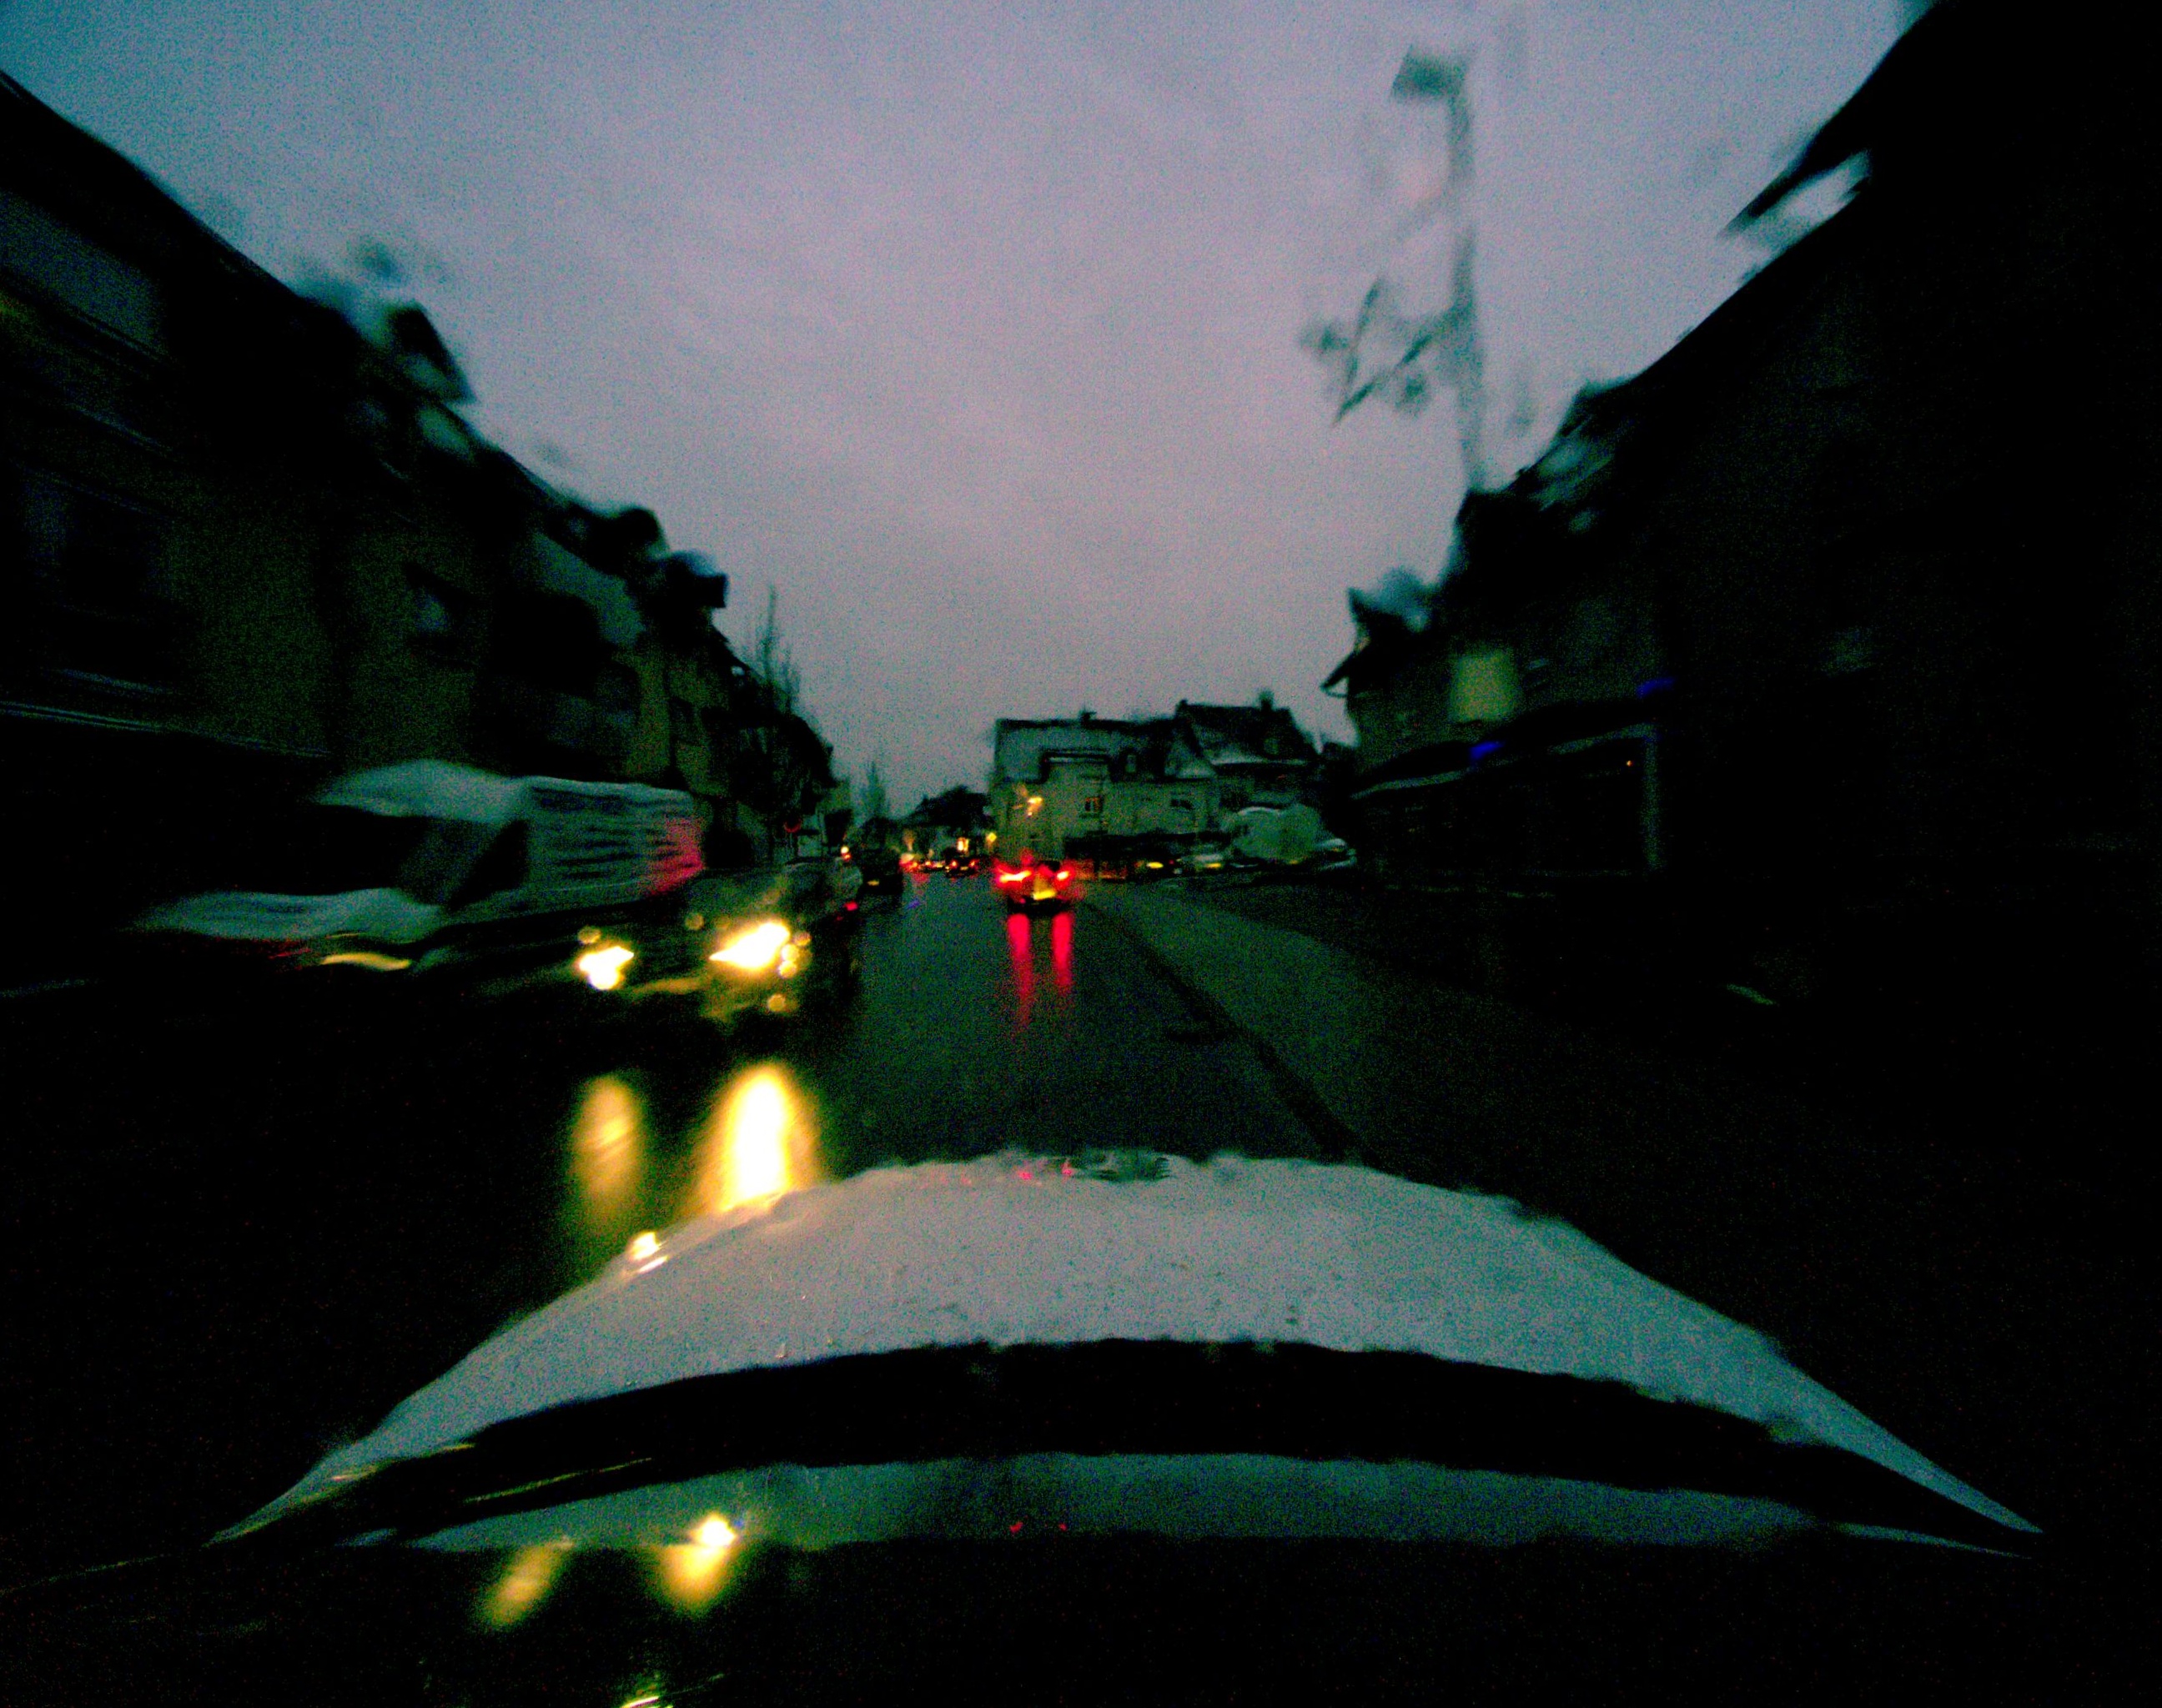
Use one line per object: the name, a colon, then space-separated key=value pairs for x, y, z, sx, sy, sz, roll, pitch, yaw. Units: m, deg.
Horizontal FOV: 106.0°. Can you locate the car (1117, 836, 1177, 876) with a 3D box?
car: x=3.201 y=0.099 z=40.610 sx=1.992 sy=1.765 sz=4.338 roll=-4 pitch=1 yaw=-8

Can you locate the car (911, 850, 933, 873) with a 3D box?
car: x=-16.004 y=0.713 z=81.849 sx=1.996 sy=2.202 sz=3.981 roll=-1 pitch=0 yaw=-14

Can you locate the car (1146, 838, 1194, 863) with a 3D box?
car: x=5.665 y=-0.236 z=52.553 sx=1.823 sy=1.462 sz=4.532 roll=-4 pitch=1 yaw=-10

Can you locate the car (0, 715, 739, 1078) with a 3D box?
car: x=-6.633 y=0.330 z=9.200 sx=2.476 sy=2.560 sz=6.764 roll=-1 pitch=-1 yaw=2

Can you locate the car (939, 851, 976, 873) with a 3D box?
car: x=-9.433 y=0.607 z=62.053 sx=2.001 sy=1.588 sz=3.972 roll=-1 pitch=0 yaw=-21

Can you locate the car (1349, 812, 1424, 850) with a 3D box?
car: x=15.190 y=-1.124 z=40.751 sx=1.989 sy=1.606 sz=3.996 roll=-6 pitch=1 yaw=-3

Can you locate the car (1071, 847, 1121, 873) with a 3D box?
car: x=0.867 y=0.330 z=49.842 sx=1.892 sy=1.462 sz=3.610 roll=-2 pitch=1 yaw=-19

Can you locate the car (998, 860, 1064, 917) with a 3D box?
car: x=-1.474 y=0.968 z=24.746 sx=1.810 sy=1.533 sz=3.996 roll=-1 pitch=0 yaw=-2

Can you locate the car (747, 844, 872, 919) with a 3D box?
car: x=-7.498 y=0.693 z=23.114 sx=1.989 sy=1.843 sz=5.297 roll=-1 pitch=0 yaw=-3

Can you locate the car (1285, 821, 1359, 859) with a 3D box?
car: x=11.845 y=-0.657 z=40.322 sx=1.788 sy=1.553 sz=3.987 roll=-8 pitch=1 yaw=-9

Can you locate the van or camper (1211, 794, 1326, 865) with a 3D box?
van or camper: x=9.210 y=-1.119 z=40.916 sx=2.655 sy=3.047 sz=6.702 roll=-5 pitch=1 yaw=-14

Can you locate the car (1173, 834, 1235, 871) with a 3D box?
car: x=6.069 y=-0.038 z=40.573 sx=1.991 sy=1.610 sz=4.166 roll=-4 pitch=-1 yaw=-6

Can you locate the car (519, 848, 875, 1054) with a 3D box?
car: x=-3.710 y=0.812 z=8.865 sx=1.913 sy=1.564 sz=4.222 roll=-4 pitch=0 yaw=-3
